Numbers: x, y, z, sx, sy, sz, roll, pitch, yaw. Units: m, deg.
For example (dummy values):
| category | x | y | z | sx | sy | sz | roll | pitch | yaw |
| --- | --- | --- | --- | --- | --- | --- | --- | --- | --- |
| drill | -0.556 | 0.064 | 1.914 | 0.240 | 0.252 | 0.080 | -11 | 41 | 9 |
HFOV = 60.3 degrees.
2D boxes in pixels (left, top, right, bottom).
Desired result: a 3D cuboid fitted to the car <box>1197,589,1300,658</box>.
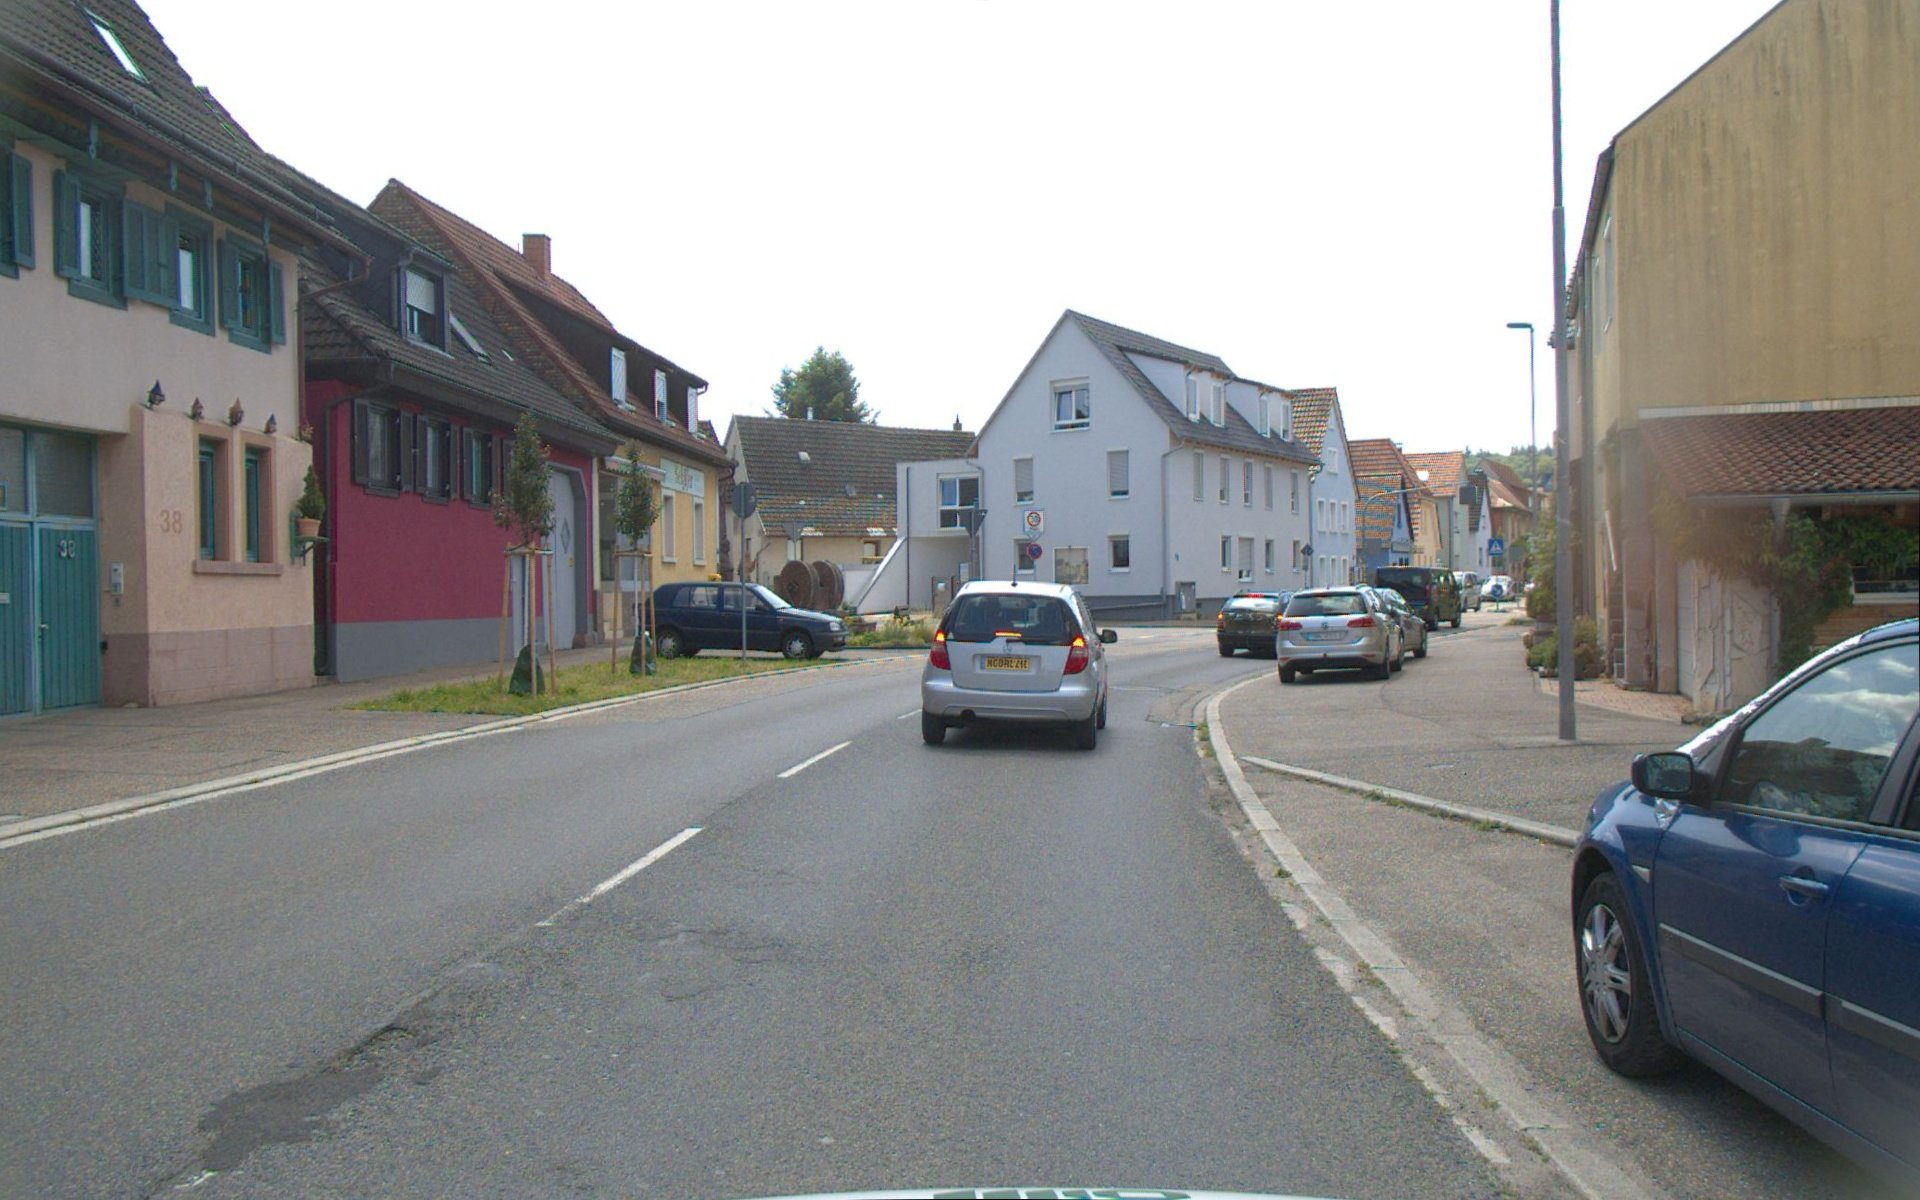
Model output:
| category | x | y | z | sx | sy | sz | roll | pitch | yaw |
| --- | --- | --- | --- | --- | --- | --- | --- | --- | --- |
| car | 6.490 | 0.517 | 36.897 | 1.713 | 1.441 | 4.001 | 0 | -1 | 18 |

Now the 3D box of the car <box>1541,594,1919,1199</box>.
| category | x | y | z | sx | sy | sz | roll | pitch | yaw |
| --- | --- | --- | --- | --- | --- | --- | --- | --- | --- |
| car | 2.786 | 0.682 | 3.784 | 1.686 | 1.410 | 4.001 | -1 | -1 | 3 |

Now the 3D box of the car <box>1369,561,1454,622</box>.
| category | x | y | z | sx | sy | sz | roll | pitch | yaw |
| --- | --- | --- | --- | --- | --- | --- | --- | --- | --- |
| car | 14.516 | -0.245 | 53.023 | 1.954 | 1.848 | 3.996 | 0 | -1 | 25 |

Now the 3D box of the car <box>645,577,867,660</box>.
| category | x | y | z | sx | sy | sz | roll | pitch | yaw |
| --- | --- | --- | --- | --- | --- | --- | --- | --- | --- |
| car | -3.795 | 0.335 | 31.213 | 3.884 | 1.489 | 1.722 | 1 | 0 | 3 |

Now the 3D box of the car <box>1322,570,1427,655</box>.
| category | x | y | z | sx | sy | sz | roll | pitch | yaw |
| --- | --- | --- | --- | --- | --- | --- | --- | --- | --- |
| car | 8.198 | 0.258 | 32.496 | 1.845 | 1.557 | 4.002 | 0 | -1 | 16 |

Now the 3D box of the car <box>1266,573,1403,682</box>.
| category | x | y | z | sx | sy | sz | roll | pitch | yaw |
| --- | --- | --- | --- | --- | --- | --- | --- | --- | --- |
| car | 6.242 | 0.412 | 27.225 | 1.845 | 1.556 | 4.338 | -3 | -1 | 16 |

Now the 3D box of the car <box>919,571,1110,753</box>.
| category | x | y | z | sx | sy | sz | roll | pitch | yaw |
| --- | --- | --- | --- | --- | --- | --- | --- | --- | --- |
| car | 0.659 | 0.556 | 17.458 | 1.772 | 1.672 | 3.731 | 1 | 1 | 4 |
